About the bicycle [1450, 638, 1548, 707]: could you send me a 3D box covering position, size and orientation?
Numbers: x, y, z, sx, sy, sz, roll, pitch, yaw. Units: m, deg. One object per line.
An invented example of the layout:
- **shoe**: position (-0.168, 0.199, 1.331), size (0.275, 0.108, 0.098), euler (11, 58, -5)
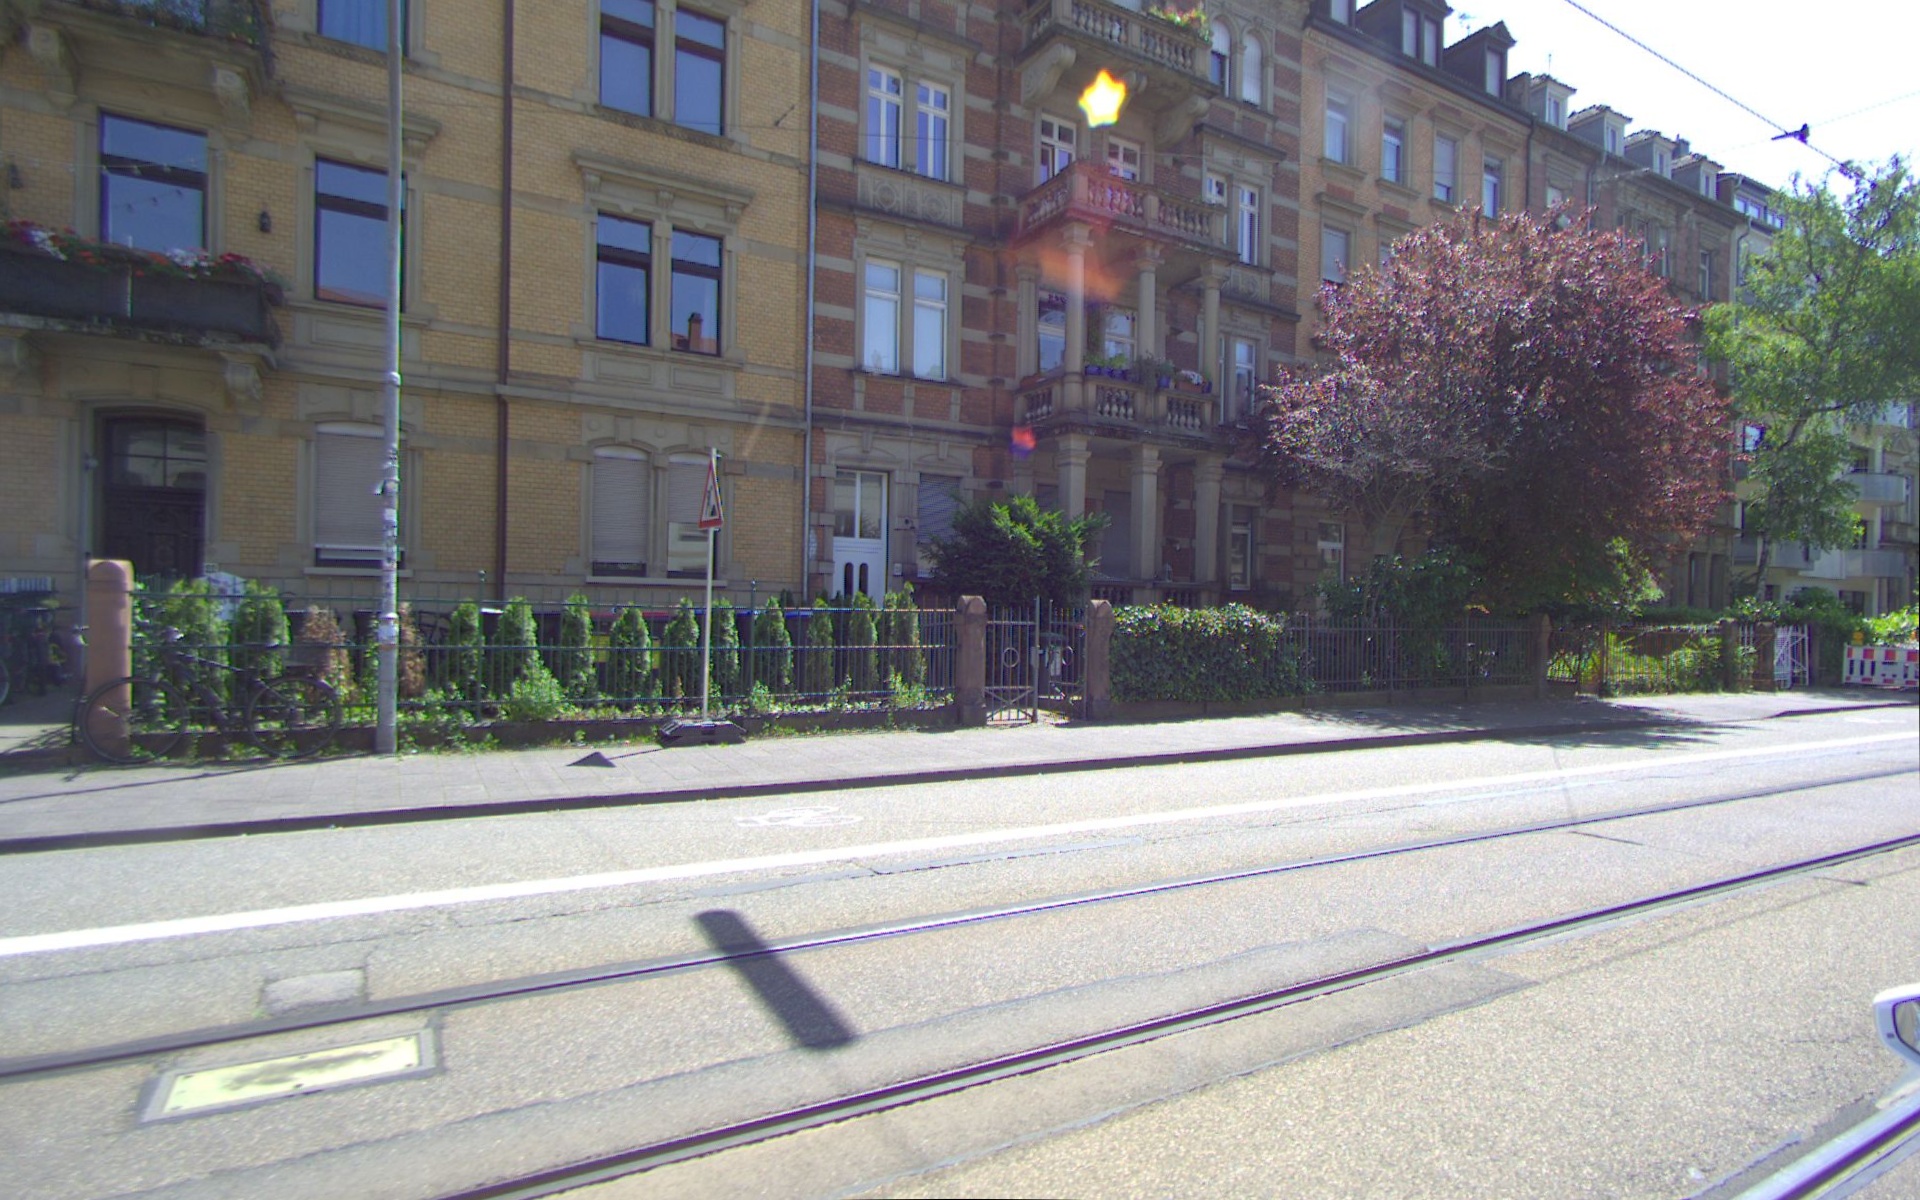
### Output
- **bicycle**: position (10.773, 1.429, 20.111), size (0.506, 1.203, 1.593), euler (1, 3, -42)

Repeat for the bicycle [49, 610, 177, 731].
- **bicycle**: position (-7.858, 0.610, 9.389), size (0.467, 1.016, 1.775), euler (1, -1, -26)

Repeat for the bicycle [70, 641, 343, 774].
- **bicycle**: position (-6.277, 0.865, 8.486), size (1.788, 1.016, 0.451), euler (2, -1, -34)

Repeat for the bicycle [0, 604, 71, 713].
- **bicycle**: position (-9.595, 0.556, 10.143), size (0.467, 1.016, 1.699), euler (1, -1, -26)
